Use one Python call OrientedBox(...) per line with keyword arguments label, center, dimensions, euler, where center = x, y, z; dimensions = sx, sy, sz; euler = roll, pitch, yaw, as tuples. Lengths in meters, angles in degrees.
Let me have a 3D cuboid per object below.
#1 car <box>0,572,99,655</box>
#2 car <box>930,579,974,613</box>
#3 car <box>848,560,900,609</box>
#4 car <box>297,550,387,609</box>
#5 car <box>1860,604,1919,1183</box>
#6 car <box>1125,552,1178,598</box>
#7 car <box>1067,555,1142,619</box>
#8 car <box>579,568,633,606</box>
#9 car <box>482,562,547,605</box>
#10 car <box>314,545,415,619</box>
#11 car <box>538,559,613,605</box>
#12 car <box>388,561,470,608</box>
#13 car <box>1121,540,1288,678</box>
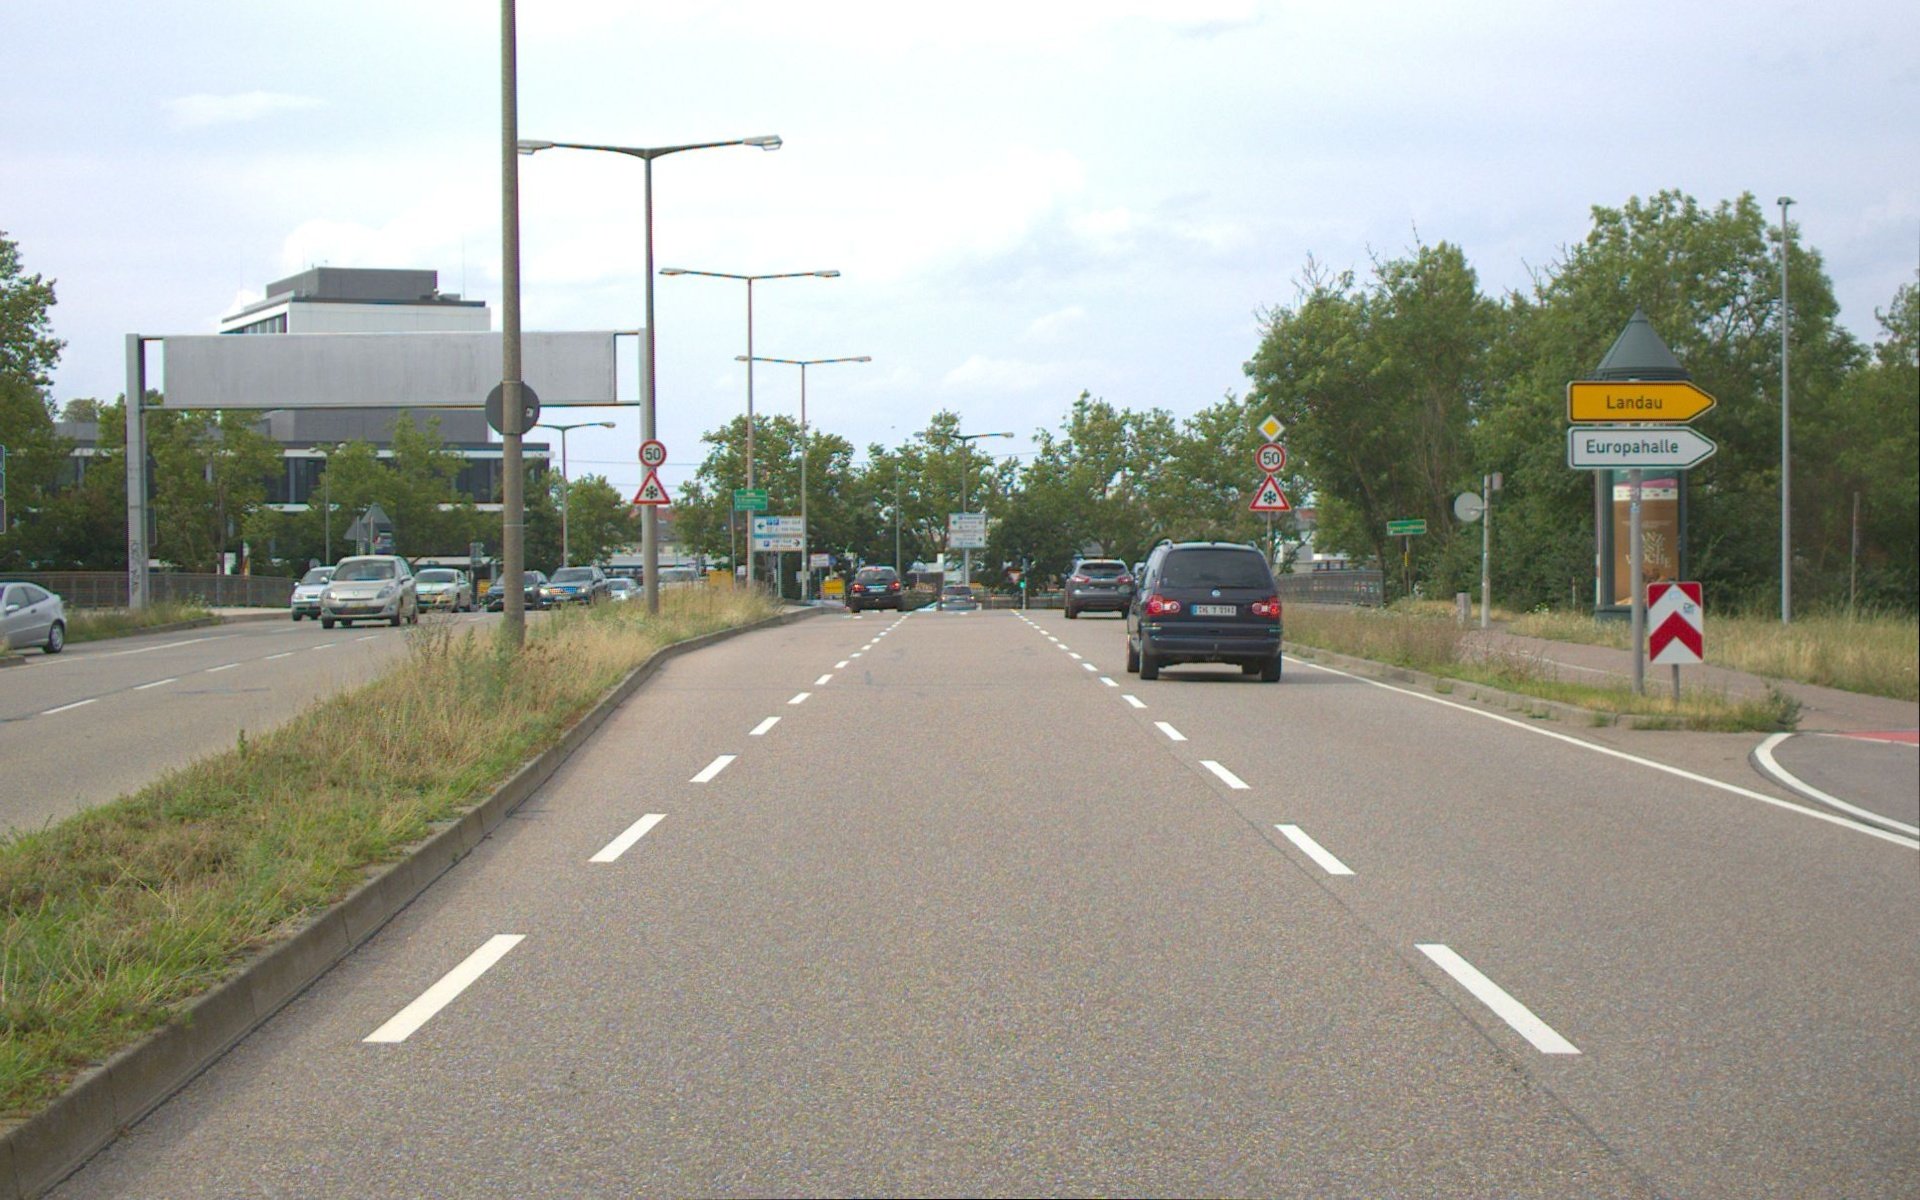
OrientedBox(label="car", center=(-17.993, 0.261, 63.711), dimensions=(1.747, 1.441, 4.457), euler=(-1, 1, 20))
OrientedBox(label="car", center=(-0.369, -0.197, 158.854), dimensions=(1.730, 1.521, 4.116), euler=(1, 1, -4))
OrientedBox(label="car", center=(-2.981, -0.561, 119.547), dimensions=(1.730, 1.647, 4.115), euler=(1, 1, -1))
OrientedBox(label="car", center=(-16.646, -0.571, 92.732), dimensions=(1.666, 1.414, 4.093), euler=(-1, 2, 0))
OrientedBox(label="car", center=(3.223, 0.749, 6.766), dimensions=(1.730, 1.390, 4.115), euler=(1, 1, -1))
OrientedBox(label="car", center=(6.423, -0.851, 115.732), dimensions=(1.507, 1.442, 3.140), euler=(1, 1, -1))
OrientedBox(label="car", center=(3.863, -0.369, 92.349), dimensions=(1.730, 1.647, 4.115), euler=(1, 1, -1))
OrientedBox(label="car", center=(-14.705, -0.543, 143.068), dimensions=(1.793, 1.520, 4.188), euler=(-2, 0, 0))
OrientedBox(label="car", center=(-16.475, -0.608, 127.237), dimensions=(1.793, 1.520, 4.594), euler=(-2, 0, 0))
OrientedBox(label="car", center=(-13.665, -0.440, 79.127), dimensions=(1.745, 1.593, 4.566), euler=(-1, 1, -3))
OrientedBox(label="car", center=(-12.728, -0.596, 114.014), dimensions=(1.666, 1.420, 4.518), euler=(-2, 0, 4))
OrientedBox(label="car", center=(-17.018, -0.486, 110.377), dimensions=(1.666, 1.414, 4.313), euler=(-3, 0, 3))
OrientedBox(label="car", center=(3.061, 0.075, 43.710), dimensions=(1.730, 1.647, 4.115), euler=(1, 1, -1))
